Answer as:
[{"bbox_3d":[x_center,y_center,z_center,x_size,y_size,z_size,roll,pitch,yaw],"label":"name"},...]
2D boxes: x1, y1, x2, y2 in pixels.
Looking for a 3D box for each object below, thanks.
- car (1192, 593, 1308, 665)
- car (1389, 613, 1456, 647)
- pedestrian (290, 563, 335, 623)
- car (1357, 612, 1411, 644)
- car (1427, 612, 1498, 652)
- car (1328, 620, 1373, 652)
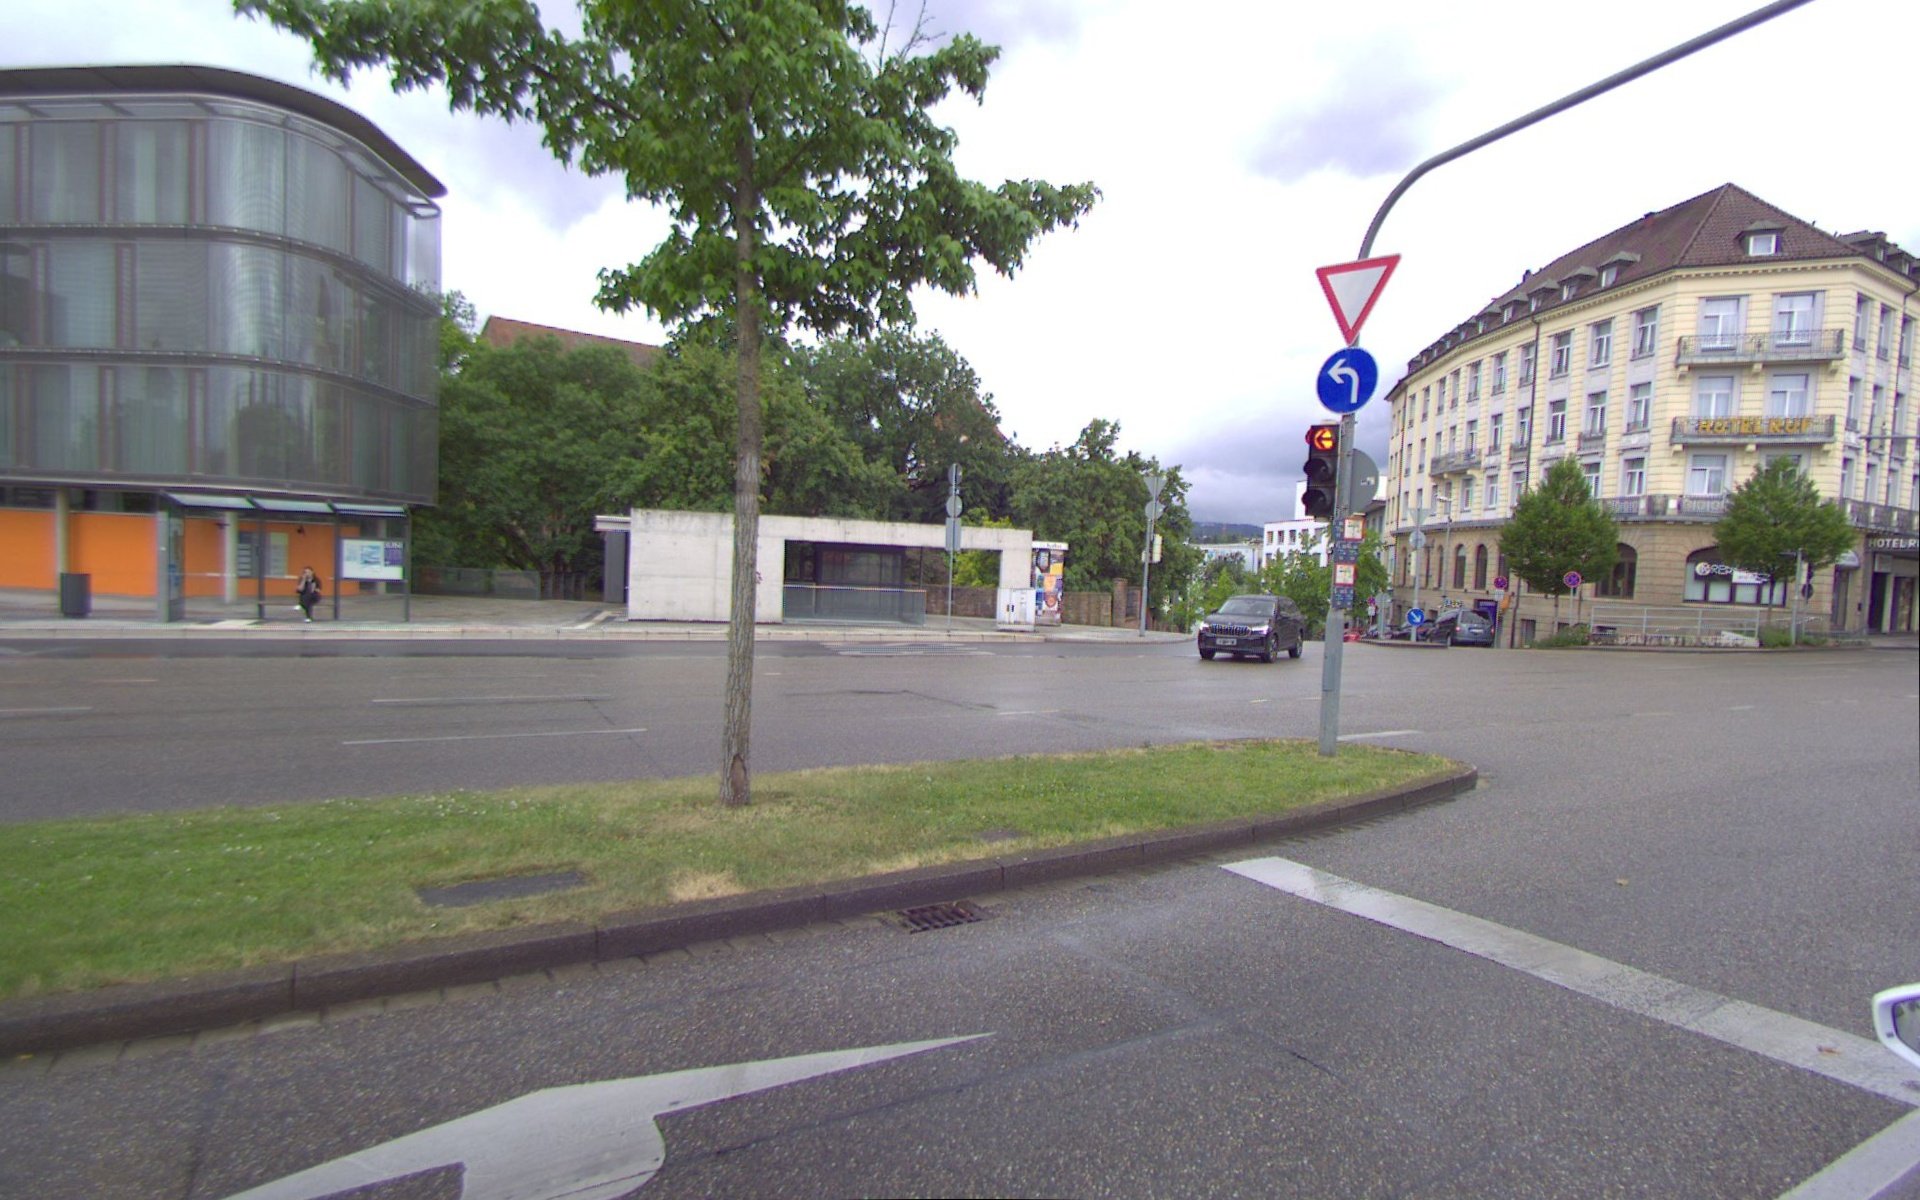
[{"bbox_3d":[7.686,0.685,26.322,1.795,1.662,4.590,2,1,31],"label":"car"},{"bbox_3d":[24.087,1.537,52.460,1.959,1.662,4.002,2,0,6],"label":"car"},{"bbox_3d":[-14.879,-0.165,23.099,0.780,1.341,0.798,1,1,-29],"label":"pedestrian"},{"bbox_3d":[24.337,1.578,57.758,1.757,1.662,3.916,2,1,6],"label":"car"},{"bbox_3d":[22.921,1.416,45.951,1.764,1.590,4.002,2,1,9],"label":"car"},{"bbox_3d":[24.756,2.265,63.815,1.741,1.836,3.624,2,1,7],"label":"car"}]
